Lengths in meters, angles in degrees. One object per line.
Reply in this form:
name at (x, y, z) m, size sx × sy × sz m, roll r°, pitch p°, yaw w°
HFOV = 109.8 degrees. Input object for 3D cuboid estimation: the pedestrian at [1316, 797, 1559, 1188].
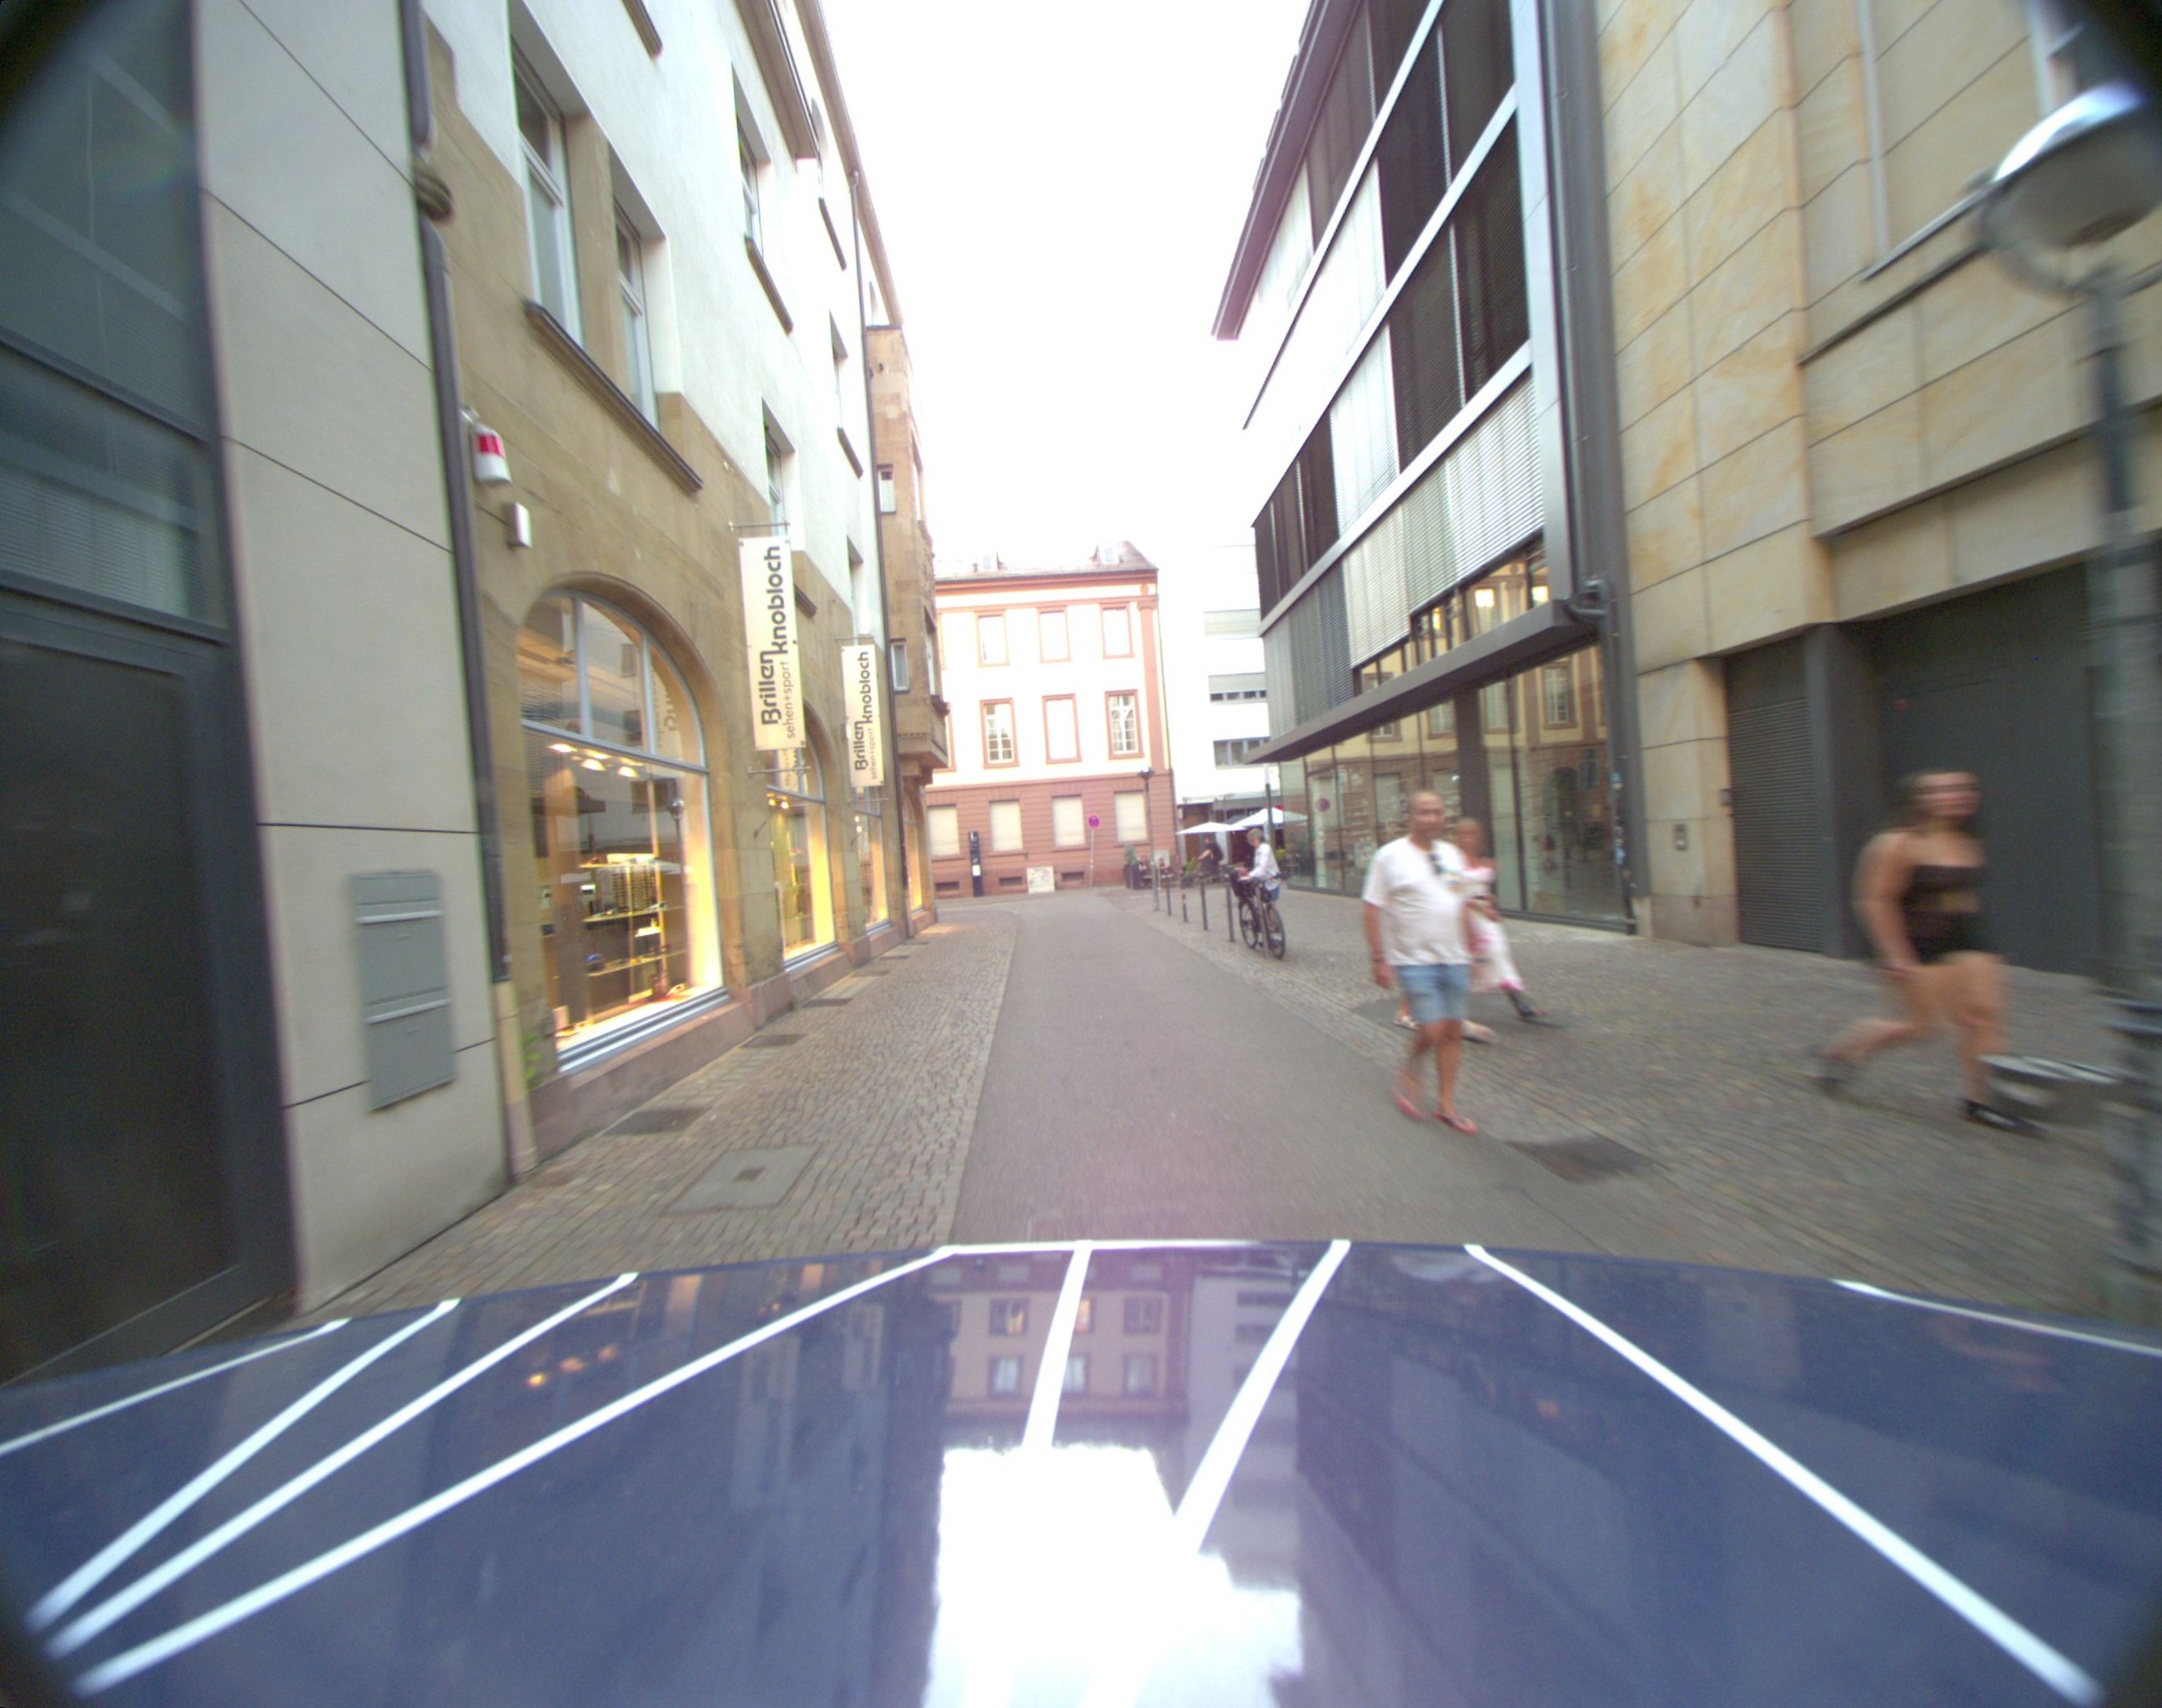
pedestrian at (1.842, 0.655, 4.057) m, size 0.744 × 1.812 × 0.878 m, roll -4°, pitch 1°, yaw -4°

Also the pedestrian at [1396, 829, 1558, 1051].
pedestrian at (3.261, 0.662, 6.302) m, size 0.677 × 1.655 × 0.859 m, roll -5°, pitch 1°, yaw -26°

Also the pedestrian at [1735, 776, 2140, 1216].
pedestrian at (4.030, 0.586, 3.671) m, size 0.787 × 1.785 × 0.971 m, roll -4°, pitch 1°, yaw -8°

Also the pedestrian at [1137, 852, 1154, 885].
pedestrian at (2.673, 0.590, 31.503) m, size 0.549 × 1.341 × 0.489 m, roll -4°, pitch 1°, yaw -1°

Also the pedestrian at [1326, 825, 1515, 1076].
pedestrian at (2.618, 0.681, 5.912) m, size 0.810 × 1.719 × 0.946 m, roll -5°, pitch 1°, yaw -30°

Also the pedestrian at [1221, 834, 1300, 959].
pedestrian at (2.613, 0.604, 11.067) m, size 0.771 × 1.708 × 0.590 m, roll -6°, pitch 1°, yaw -34°

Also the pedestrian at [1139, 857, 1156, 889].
pedestrian at (2.620, 0.744, 29.959) m, size 0.562 × 1.204 × 0.461 m, roll -4°, pitch 1°, yaw -1°

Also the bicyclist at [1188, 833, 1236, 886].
bicyclist at (4.855, 0.202, 28.154) m, size 1.469 × 1.807 × 0.923 m, roll -4°, pitch 0°, yaw -3°

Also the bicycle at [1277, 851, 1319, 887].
bicycle at (7.143, 0.503, 25.102) m, size 0.709 × 1.106 × 1.673 m, roll -4°, pitch -1°, yaw -4°

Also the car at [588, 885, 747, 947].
car at (-13.023, 1.934, 24.098) m, size 3.997 × 1.435 × 1.649 m, roll -5°, pitch 3°, yaw -1°

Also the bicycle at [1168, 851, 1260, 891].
bicycle at (4.894, 0.623, 28.165) m, size 3.156 × 1.252 × 0.923 m, roll -4°, pitch 0°, yaw -3°

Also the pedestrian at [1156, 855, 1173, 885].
pedestrian at (3.427, 0.653, 31.169) m, size 0.549 × 1.204 × 0.524 m, roll -4°, pitch 1°, yaw -1°

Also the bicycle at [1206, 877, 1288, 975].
bicycle at (2.272, 0.943, 10.604) m, size 0.534 × 1.147 × 1.914 m, roll -6°, pitch 1°, yaw -3°
